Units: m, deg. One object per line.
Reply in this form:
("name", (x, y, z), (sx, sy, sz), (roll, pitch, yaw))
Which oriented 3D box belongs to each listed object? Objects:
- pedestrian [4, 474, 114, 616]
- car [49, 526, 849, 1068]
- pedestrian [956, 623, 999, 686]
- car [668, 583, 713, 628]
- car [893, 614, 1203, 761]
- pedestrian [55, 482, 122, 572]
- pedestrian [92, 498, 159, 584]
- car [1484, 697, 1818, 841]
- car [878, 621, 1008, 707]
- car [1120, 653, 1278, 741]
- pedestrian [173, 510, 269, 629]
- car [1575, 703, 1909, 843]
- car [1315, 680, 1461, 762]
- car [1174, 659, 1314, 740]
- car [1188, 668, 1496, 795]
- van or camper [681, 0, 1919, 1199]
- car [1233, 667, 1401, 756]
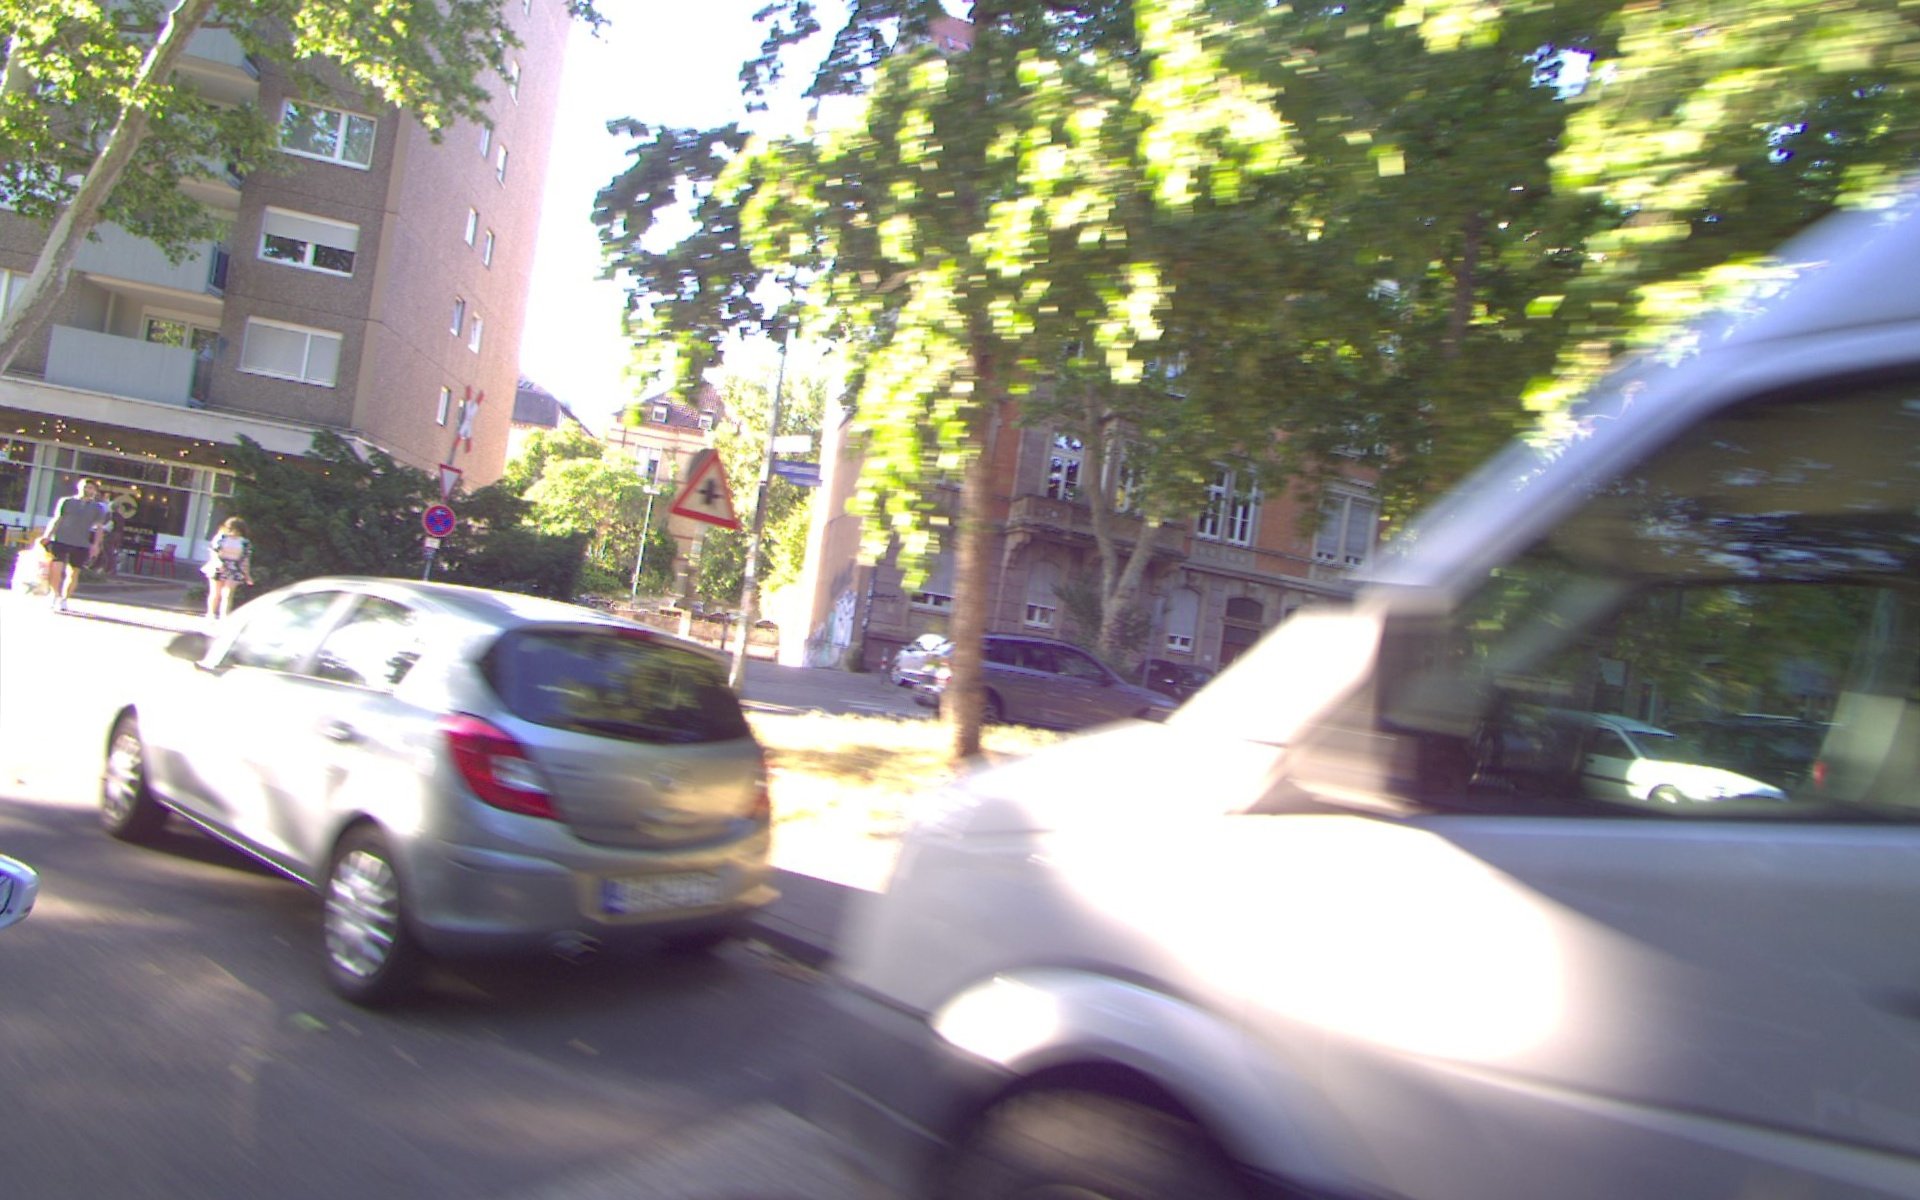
("pedestrian", (-12.400, -0.747, 13.853), (0.705, 1.802, 0.812), (7, -1, 36))
("car", (-2.619, 0.646, 4.866), (3.810, 1.461, 1.685), (7, -5, 35))
("pedestrian", (0.488, 1.510, 27.905), (0.707, 1.626, 0.810), (8, -1, -24))
("car", (-14.309, 0.277, 53.328), (1.970, 2.037, 3.988), (8, -2, -16))
("car", (1.277, 1.343, 15.199), (4.209, 1.567, 1.741), (9, -5, -13))
("pedestrian", (-18.747, -1.549, 21.646), (0.625, 1.794, 0.686), (8, -1, -7))
("pedestrian", (-17.778, -1.245, 21.446), (0.634, 1.711, 0.686), (8, -1, -7))
("car", (10.934, 2.608, 16.370), (1.707, 1.724, 4.399), (9, -6, -13))
("car", (-0.510, 1.498, 24.457), (1.712, 1.490, 3.980), (9, -1, -21))
("car", (5.930, 2.392, 25.432), (1.885, 1.636, 3.758), (9, -2, -23))
("pedestrian", (-11.073, -0.450, 15.089), (0.705, 1.626, 0.812), (7, -1, 36))
("car", (13.325, 2.877, 17.537), (1.758, 1.794, 4.399), (9, -6, -13))
("car", (12.429, 3.466, 29.584), (1.706, 1.650, 4.478), (9, -1, -8))
("car", (7.579, 2.637, 27.198), (1.630, 1.614, 3.631), (8, -2, -22))
("car", (6.300, 2.165, 16.657), (4.576, 1.465, 1.740), (8, -4, -16))
("van or camper", (2.518, 0.492, 1.525), (5.749, 2.793, 2.088), (7, -2, 32))
("car", (9.706, 3.001, 27.774), (1.712, 1.650, 4.462), (9, -1, -21))
